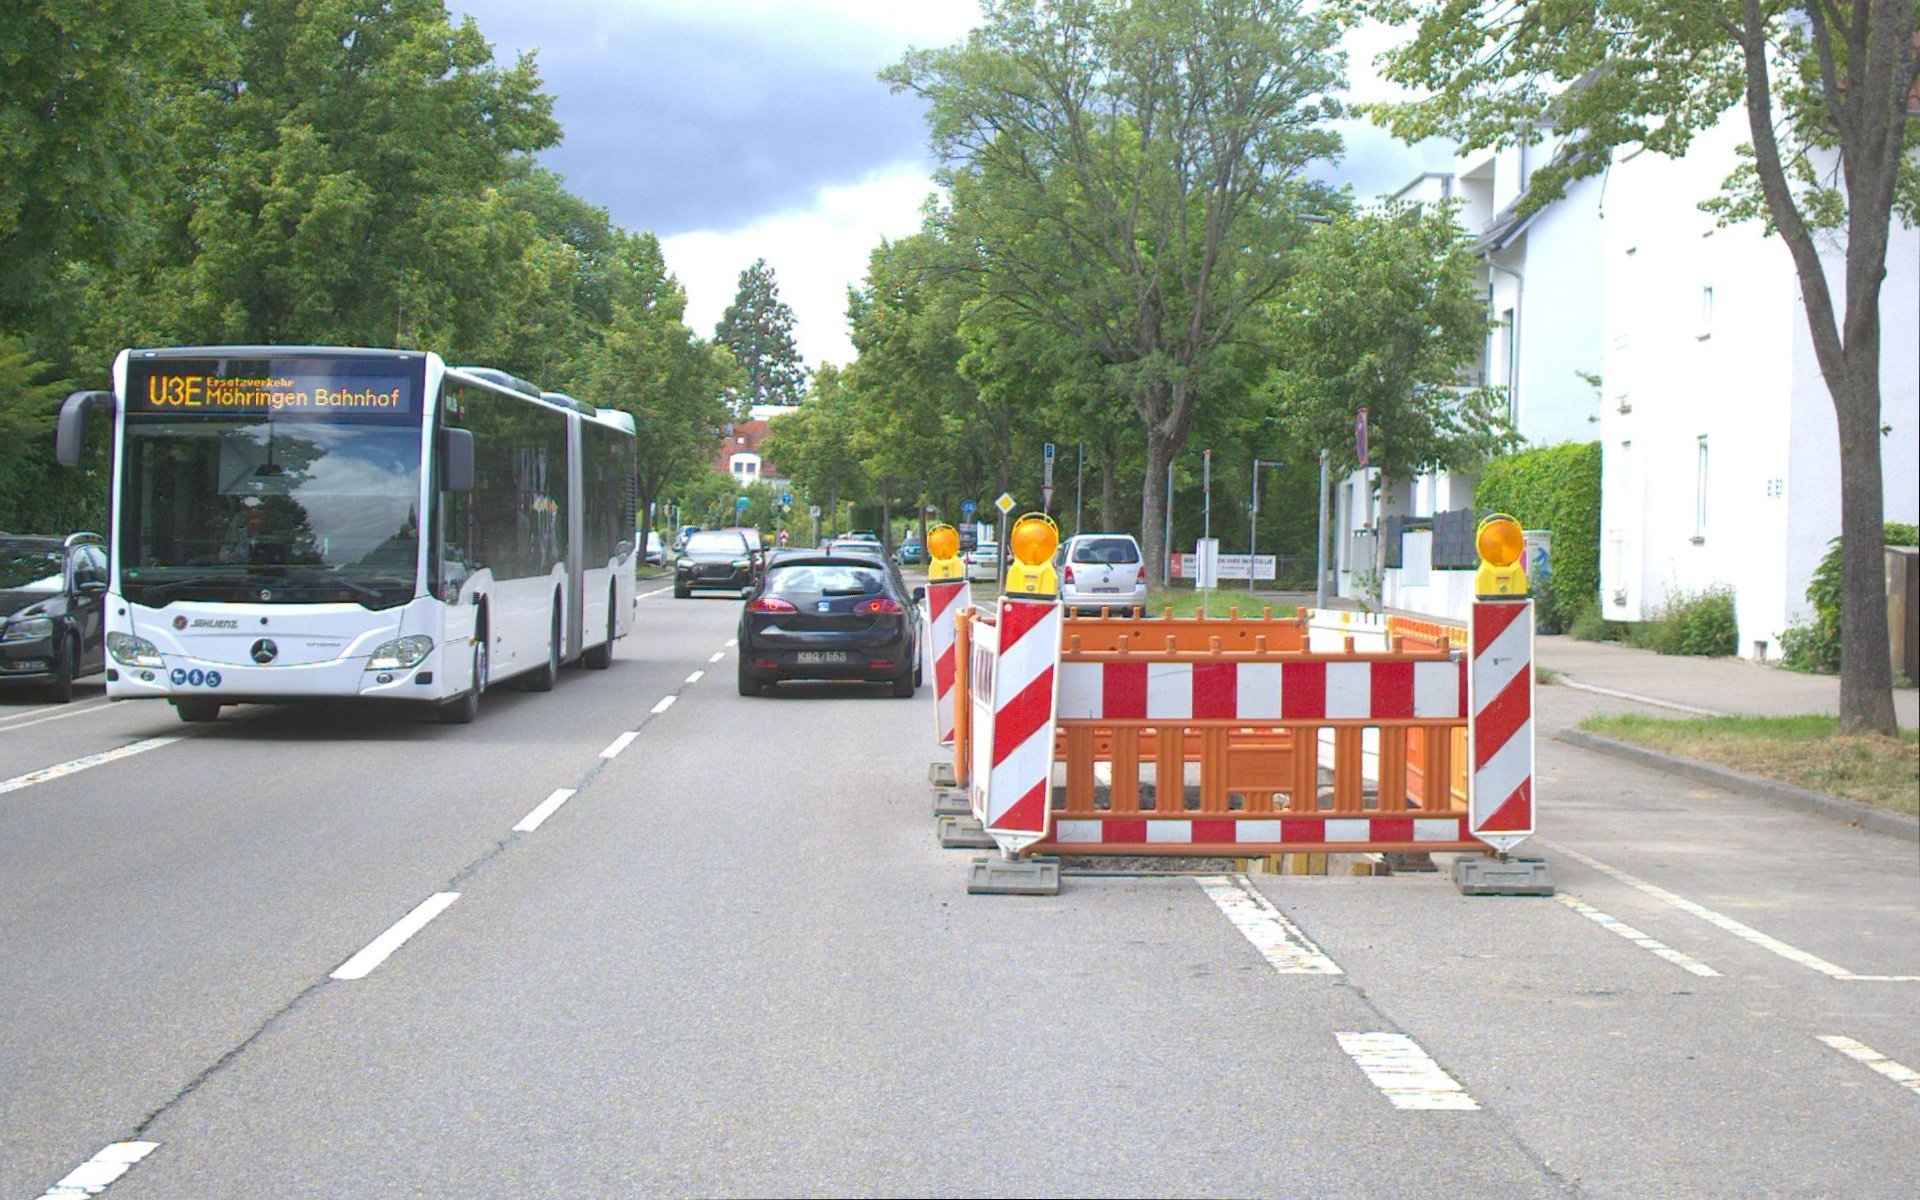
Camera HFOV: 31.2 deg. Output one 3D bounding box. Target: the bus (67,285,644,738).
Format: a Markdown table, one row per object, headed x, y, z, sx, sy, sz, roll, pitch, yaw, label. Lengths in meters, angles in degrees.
| x | y | z | sx | sy | sz | roll | pitch | yaw | label |
| --- | --- | --- | --- | --- | --- | --- | --- | --- | --- |
| -5.293 | -0.713 | 34.408 | 2.804 | 3.277 | 18.046 | 1 | 0 | -1 | bus |

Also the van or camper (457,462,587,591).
| x | y | z | sx | sy | sz | roll | pitch | yaw | label |
| --- | --- | --- | --- | --- | --- | --- | --- | --- | --- |
| -10.710 | -1.791 | 84.651 | 2.435 | 2.999 | 7.694 | 1 | 1 | -2 | van or camper |

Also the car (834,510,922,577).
| x | y | z | sx | sy | sz | roll | pitch | yaw | label |
| --- | --- | --- | --- | --- | --- | --- | --- | --- | --- |
| -1.949 | -1.364 | 82.803 | 1.993 | 1.552 | 4.000 | 1 | 1 | 0 | car |

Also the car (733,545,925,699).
| x | y | z | sx | sy | sz | roll | pitch | yaw | label |
| --- | --- | --- | --- | --- | --- | --- | --- | --- | --- |
| -1.371 | 0.185 | 34.668 | 1.783 | 1.444 | 3.558 | 1 | 1 | -4 | car |

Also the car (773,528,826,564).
| x | y | z | sx | sy | sz | roll | pitch | yaw | label |
| --- | --- | --- | --- | --- | --- | --- | --- | --- | --- |
| -7.039 | -2.359 | 150.815 | 1.993 | 1.503 | 4.001 | 1 | 0 | -7 | car |

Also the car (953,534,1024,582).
| x | y | z | sx | sy | sz | roll | pitch | yaw | label |
| --- | --- | --- | --- | --- | --- | --- | --- | --- | --- |
| 0.873 | -1.338 | 108.885 | 2.021 | 1.438 | 5.025 | 1 | 1 | -2 | car |

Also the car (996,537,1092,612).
| x | y | z | sx | sy | sz | roll | pitch | yaw | label |
| --- | --- | --- | --- | --- | --- | --- | --- | --- | --- |
| 1.710 | -0.554 | 70.984 | 1.687 | 1.488 | 4.228 | 0 | 1 | -2 | car |

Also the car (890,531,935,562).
| x | y | z | sx | sy | sz | roll | pitch | yaw | label |
| --- | --- | --- | --- | --- | --- | --- | --- | --- | --- |
| -2.260 | -2.567 | 164.124 | 1.682 | 1.427 | 4.045 | 1 | 1 | -7 | car |

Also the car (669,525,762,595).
| x | y | z | sx | sy | sz | roll | pitch | yaw | label |
| --- | --- | --- | --- | --- | --- | --- | --- | --- | --- |
| -6.035 | -1.004 | 85.235 | 1.993 | 1.662 | 4.589 | -1 | 1 | 0 | car |

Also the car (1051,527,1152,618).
| x | y | z | sx | sy | sz | roll | pitch | yaw | label |
| --- | --- | --- | --- | --- | --- | --- | --- | --- | --- |
| 2.659 | -0.537 | 65.294 | 1.632 | 1.660 | 3.648 | 1 | 1 | -2 | car |

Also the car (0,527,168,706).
| x | y | z | sx | sy | sz | roll | pitch | yaw | label |
| --- | --- | --- | --- | --- | --- | --- | --- | --- | --- |
| -8.820 | 0.154 | 32.140 | 1.860 | 1.548 | 4.620 | 1 | -1 | -2 | car |

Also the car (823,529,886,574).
| x | y | z | sx | sy | sz | roll | pitch | yaw | label |
| --- | --- | --- | --- | --- | --- | --- | --- | --- | --- |
| -3.624 | -1.673 | 117.824 | 1.993 | 1.525 | 4.001 | 1 | 1 | -4 | car |

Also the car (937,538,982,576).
| x | y | z | sx | sy | sz | roll | pitch | yaw | label |
| --- | --- | --- | --- | --- | --- | --- | --- | --- | --- |
| -0.027 | -1.623 | 129.172 | 1.638 | 1.415 | 4.000 | 0 | 1 | -1 | car |
